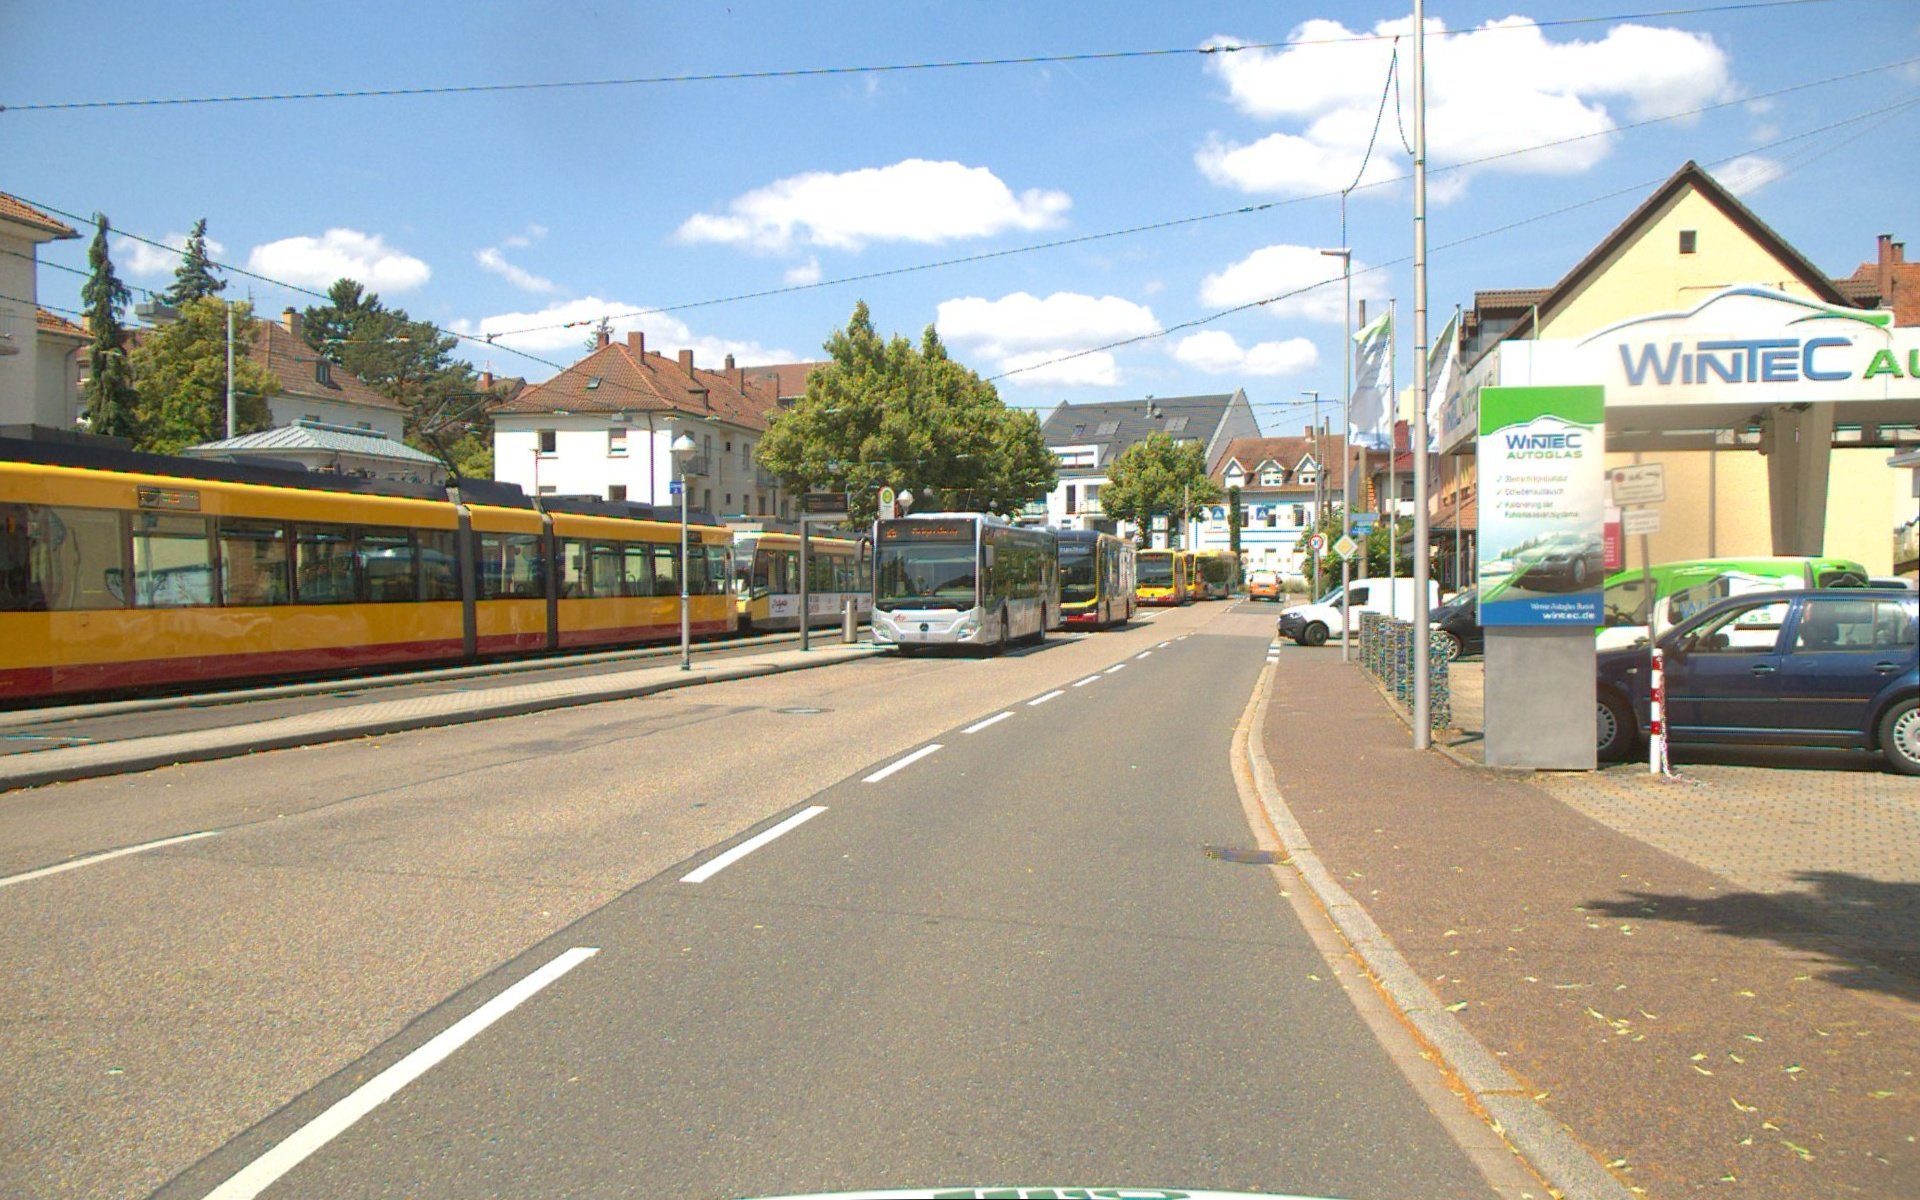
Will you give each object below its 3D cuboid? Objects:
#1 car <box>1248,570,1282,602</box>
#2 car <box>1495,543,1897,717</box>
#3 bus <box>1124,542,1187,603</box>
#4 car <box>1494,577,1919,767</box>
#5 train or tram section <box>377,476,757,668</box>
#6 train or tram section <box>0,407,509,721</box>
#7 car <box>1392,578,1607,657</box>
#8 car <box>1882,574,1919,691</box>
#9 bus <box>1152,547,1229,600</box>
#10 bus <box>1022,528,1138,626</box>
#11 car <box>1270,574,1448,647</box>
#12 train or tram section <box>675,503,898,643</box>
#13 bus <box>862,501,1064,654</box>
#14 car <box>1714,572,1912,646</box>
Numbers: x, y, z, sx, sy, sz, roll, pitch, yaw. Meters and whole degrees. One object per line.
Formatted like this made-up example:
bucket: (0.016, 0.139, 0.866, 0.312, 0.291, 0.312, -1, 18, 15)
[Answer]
car: (20.136, -0.919, 109.133, 1.770, 2.015, 4.003, 0, 0, 16)
car: (8.555, 0.320, 19.516, 1.822, 1.825, 3.972, -1, 0, -37)
bus: (11.309, -1.513, 94.808, 2.672, 3.275, 11.059, 0, 0, 11)
car: (6.899, 0.555, 14.152, 4.086, 1.464, 1.896, -1, 0, 34)
train or tram section: (-8.432, -0.591, 38.847, 2.725, 3.631, 14.718, 0, 0, 12)
train or tram section: (-11.349, -0.458, 24.707, 2.749, 3.631, 14.193, 0, 0, 12)
car: (11.105, 0.347, 34.213, 3.849, 1.545, 1.822, -1, 0, 0)
car: (14.227, 0.462, 22.161, 1.965, 1.624, 4.292, 0, 0, 10)
bus: (15.067, -1.685, 107.390, 2.580, 3.275, 9.939, 0, 0, 22)
bus: (4.524, -0.798, 59.594, 2.672, 3.183, 12.019, 0, 0, 11)
car: (10.619, 0.255, 44.192, 4.218, 1.840, 2.000, 0, 2, -3)
train or tram section: (-5.216, -0.822, 54.579, 2.725, 3.963, 15.565, 0, 0, 12)
bus: (0.420, -0.520, 40.629, 2.672, 3.183, 12.019, 0, 0, 11)
car: (22.582, 0.211, 43.924, 4.212, 1.840, 2.002, 1, 2, 7)
